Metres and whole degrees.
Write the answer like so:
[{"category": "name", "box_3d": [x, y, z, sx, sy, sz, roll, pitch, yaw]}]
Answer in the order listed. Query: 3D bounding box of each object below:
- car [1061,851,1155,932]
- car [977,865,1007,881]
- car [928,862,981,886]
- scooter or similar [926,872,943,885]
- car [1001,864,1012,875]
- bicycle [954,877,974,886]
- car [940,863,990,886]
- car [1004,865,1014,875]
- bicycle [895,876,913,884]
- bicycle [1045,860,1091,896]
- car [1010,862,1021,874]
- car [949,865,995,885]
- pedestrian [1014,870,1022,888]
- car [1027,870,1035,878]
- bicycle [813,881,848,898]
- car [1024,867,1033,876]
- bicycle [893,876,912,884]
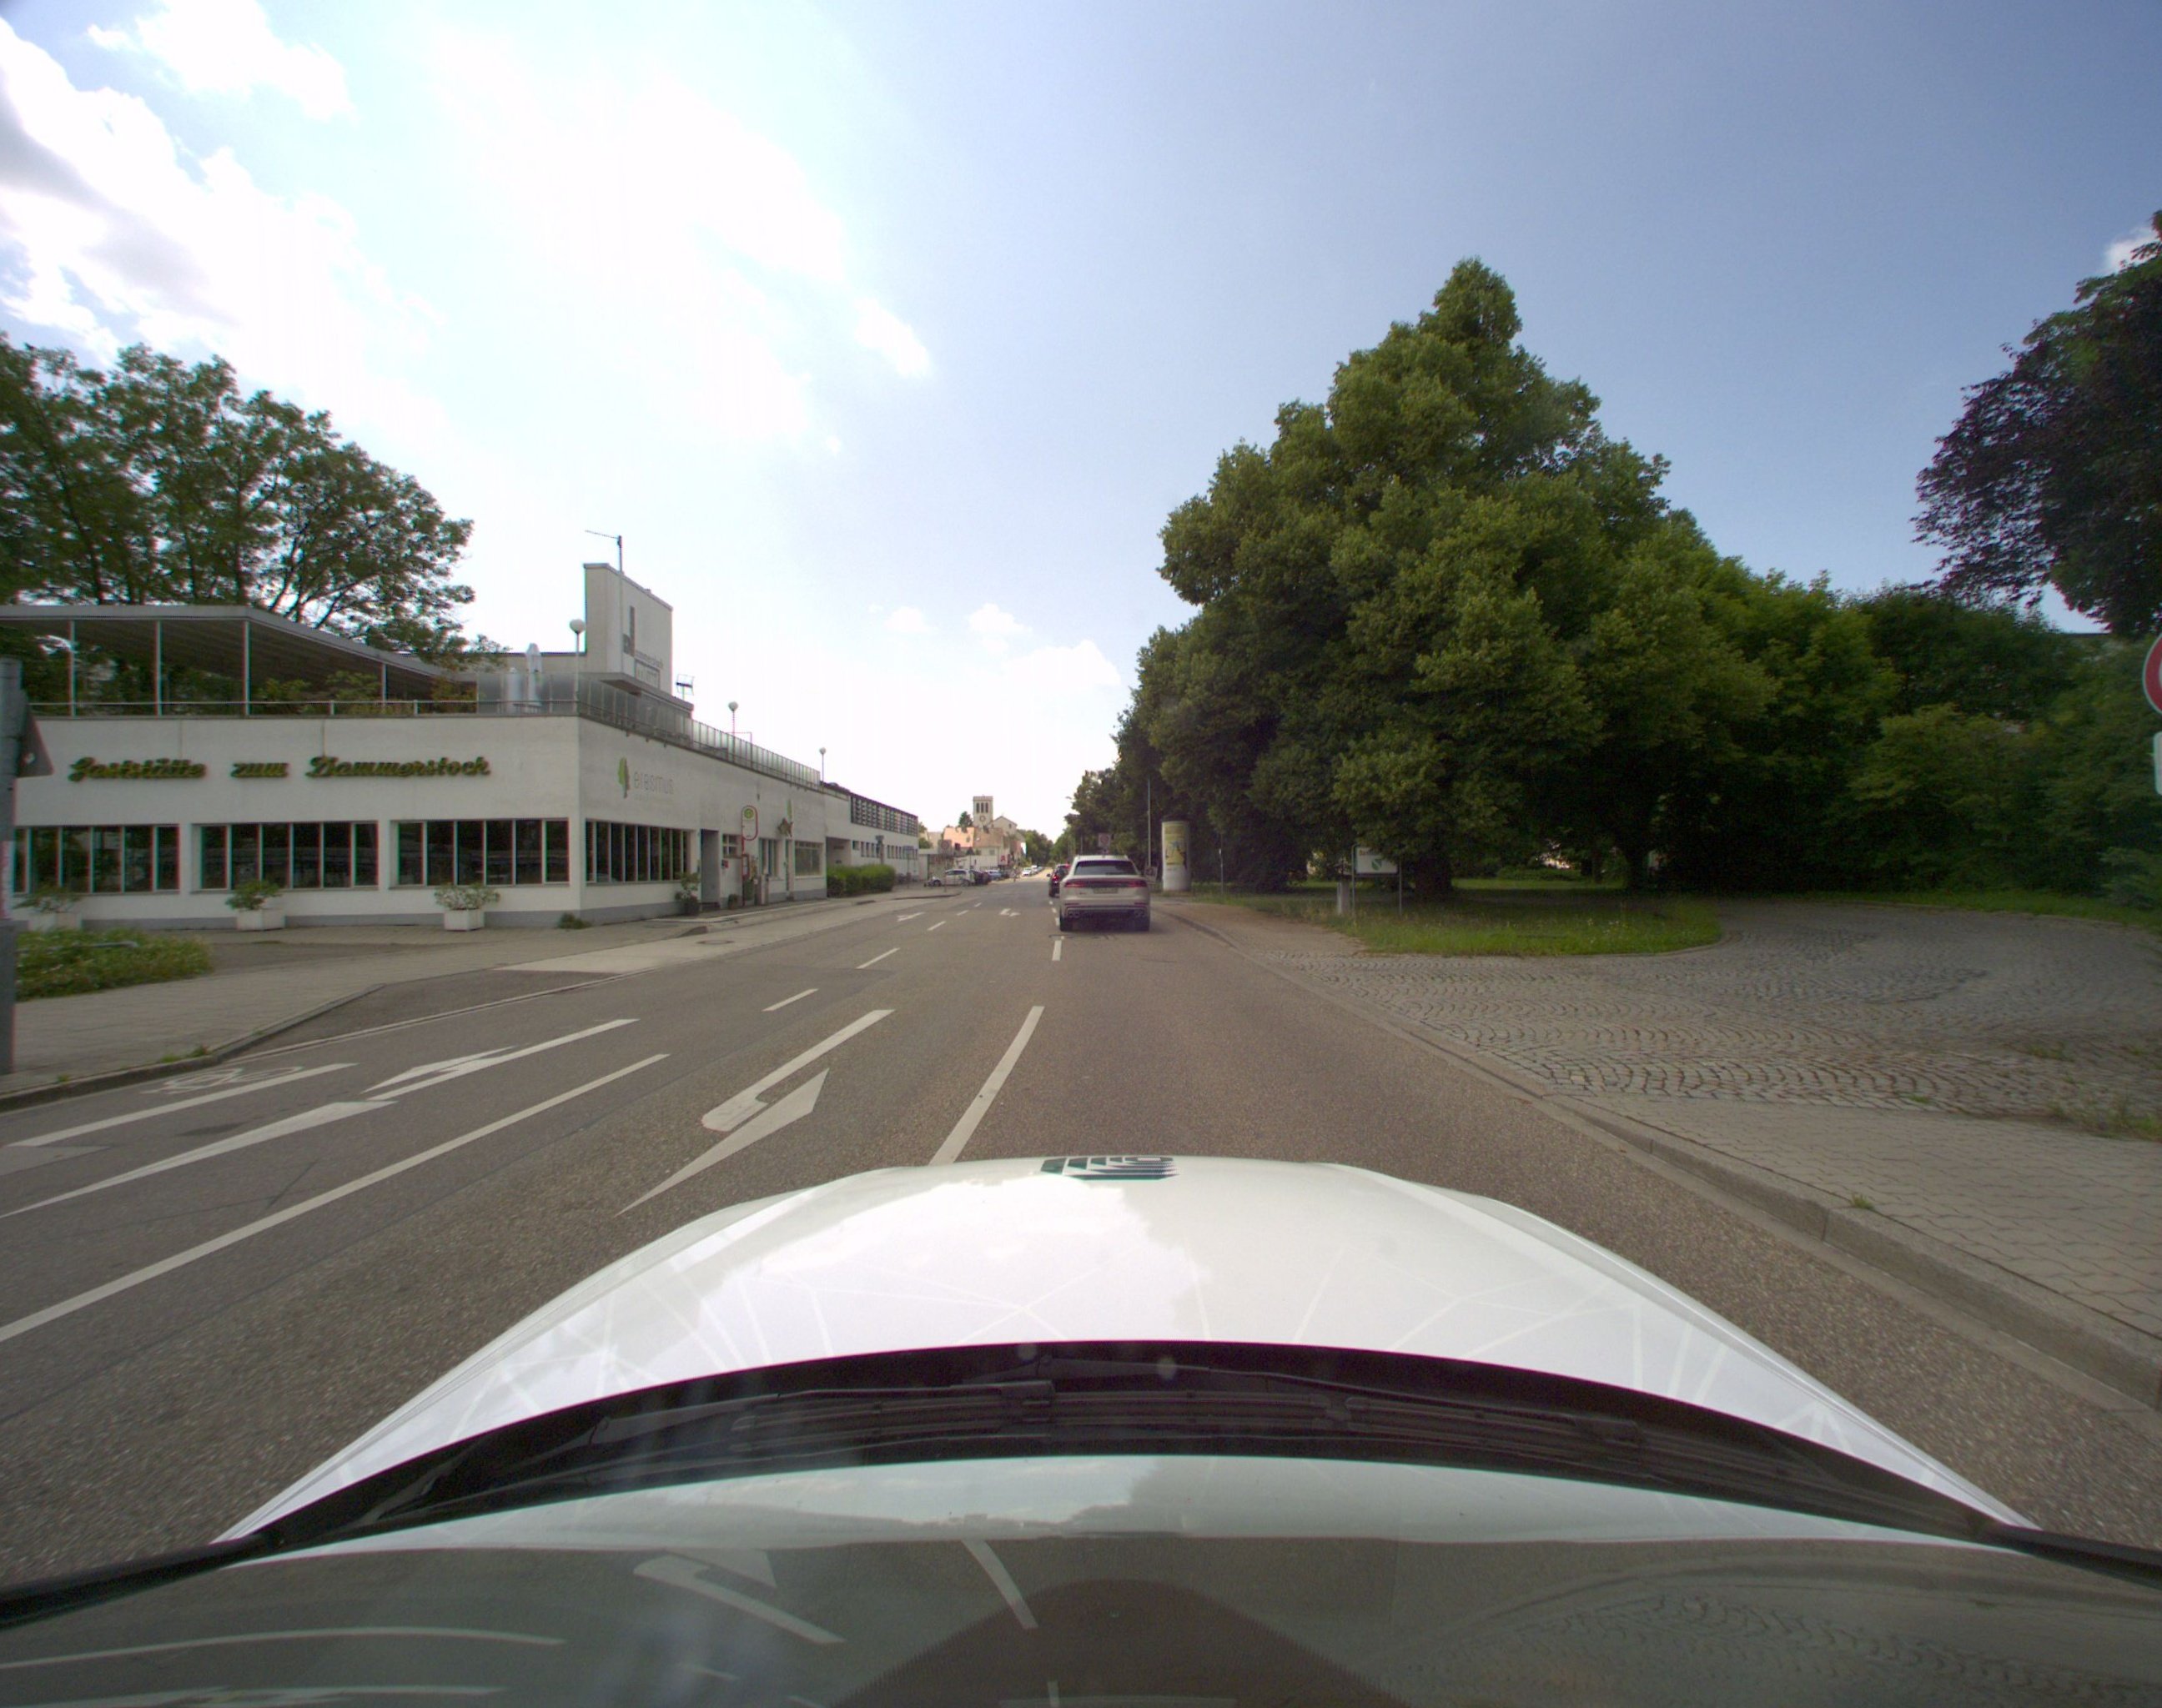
[{"category": "car", "box_3d": [0.698, 0.804, 19.378, 1.973, 1.684, 4.578, 0, 0, 3]}, {"category": "car", "box_3d": [-12.194, 2.627, 111.813, 3.985, 2.014, 1.994, -1, -1, -8]}, {"category": "car", "box_3d": [-11.249, 1.830, 72.795, 4.628, 2.014, 1.994, -1, -2, -8]}, {"category": "scooter or similar", "box_3d": [-12.442, 2.087, 69.129, 0.627, 0.996, 1.975, 0, -3, -33]}, {"category": "car", "box_3d": [-14.352, 3.025, 157.550, 1.990, 2.014, 3.993, -1, -1, -5]}, {"category": "bicycle", "box_3d": [-9.891, 2.308, 68.830, 1.668, 0.757, 0.569, 0, -2, -8]}, {"category": "car", "box_3d": [-10.968, 1.959, 77.068, 4.628, 2.014, 1.994, -1, -2, -8]}, {"category": "car", "box_3d": [-15.143, 3.331, 171.025, 1.990, 2.014, 3.993, -1, -1, -5]}, {"category": "bicycle", "box_3d": [-17.151, 2.494, 78.866, 1.679, 0.757, 0.565, 1, -2, -28]}, {"category": "bicycle", "box_3d": [-0.714, 1.187, 41.359, 1.991, 1.675, 4.200, -1, -1, -6]}, {"category": "car", "box_3d": [-11.843, 2.508, 147.585, 1.990, 2.014, 3.993, -1, -1, -5]}, {"category": "car", "box_3d": [-11.249, 2.182, 84.493, 4.628, 2.014, 1.994, -1, -2, -8]}, {"category": "pedestrian", "box_3d": [-7.778, 3.064, 100.199, 0.906, 2.135, 1.013, -1, -1, -1]}, {"category": "car", "box_3d": [-11.803, 4.786, 192.756, 1.780, 1.855, 3.993, -1, -1, -5]}, {"category": "bicycle", "box_3d": [-12.662, 1.792, 41.173, 1.675, 0.757, 0.408, -1, -1, -20]}, {"category": "car", "box_3d": [-11.766, 3.868, 181.856, 1.780, 1.855, 3.993, -1, -1, -5]}, {"category": "bicycle", "box_3d": [-17.431, 2.506, 79.585, 1.679, 0.757, 0.565, 1, -2, -28]}]
